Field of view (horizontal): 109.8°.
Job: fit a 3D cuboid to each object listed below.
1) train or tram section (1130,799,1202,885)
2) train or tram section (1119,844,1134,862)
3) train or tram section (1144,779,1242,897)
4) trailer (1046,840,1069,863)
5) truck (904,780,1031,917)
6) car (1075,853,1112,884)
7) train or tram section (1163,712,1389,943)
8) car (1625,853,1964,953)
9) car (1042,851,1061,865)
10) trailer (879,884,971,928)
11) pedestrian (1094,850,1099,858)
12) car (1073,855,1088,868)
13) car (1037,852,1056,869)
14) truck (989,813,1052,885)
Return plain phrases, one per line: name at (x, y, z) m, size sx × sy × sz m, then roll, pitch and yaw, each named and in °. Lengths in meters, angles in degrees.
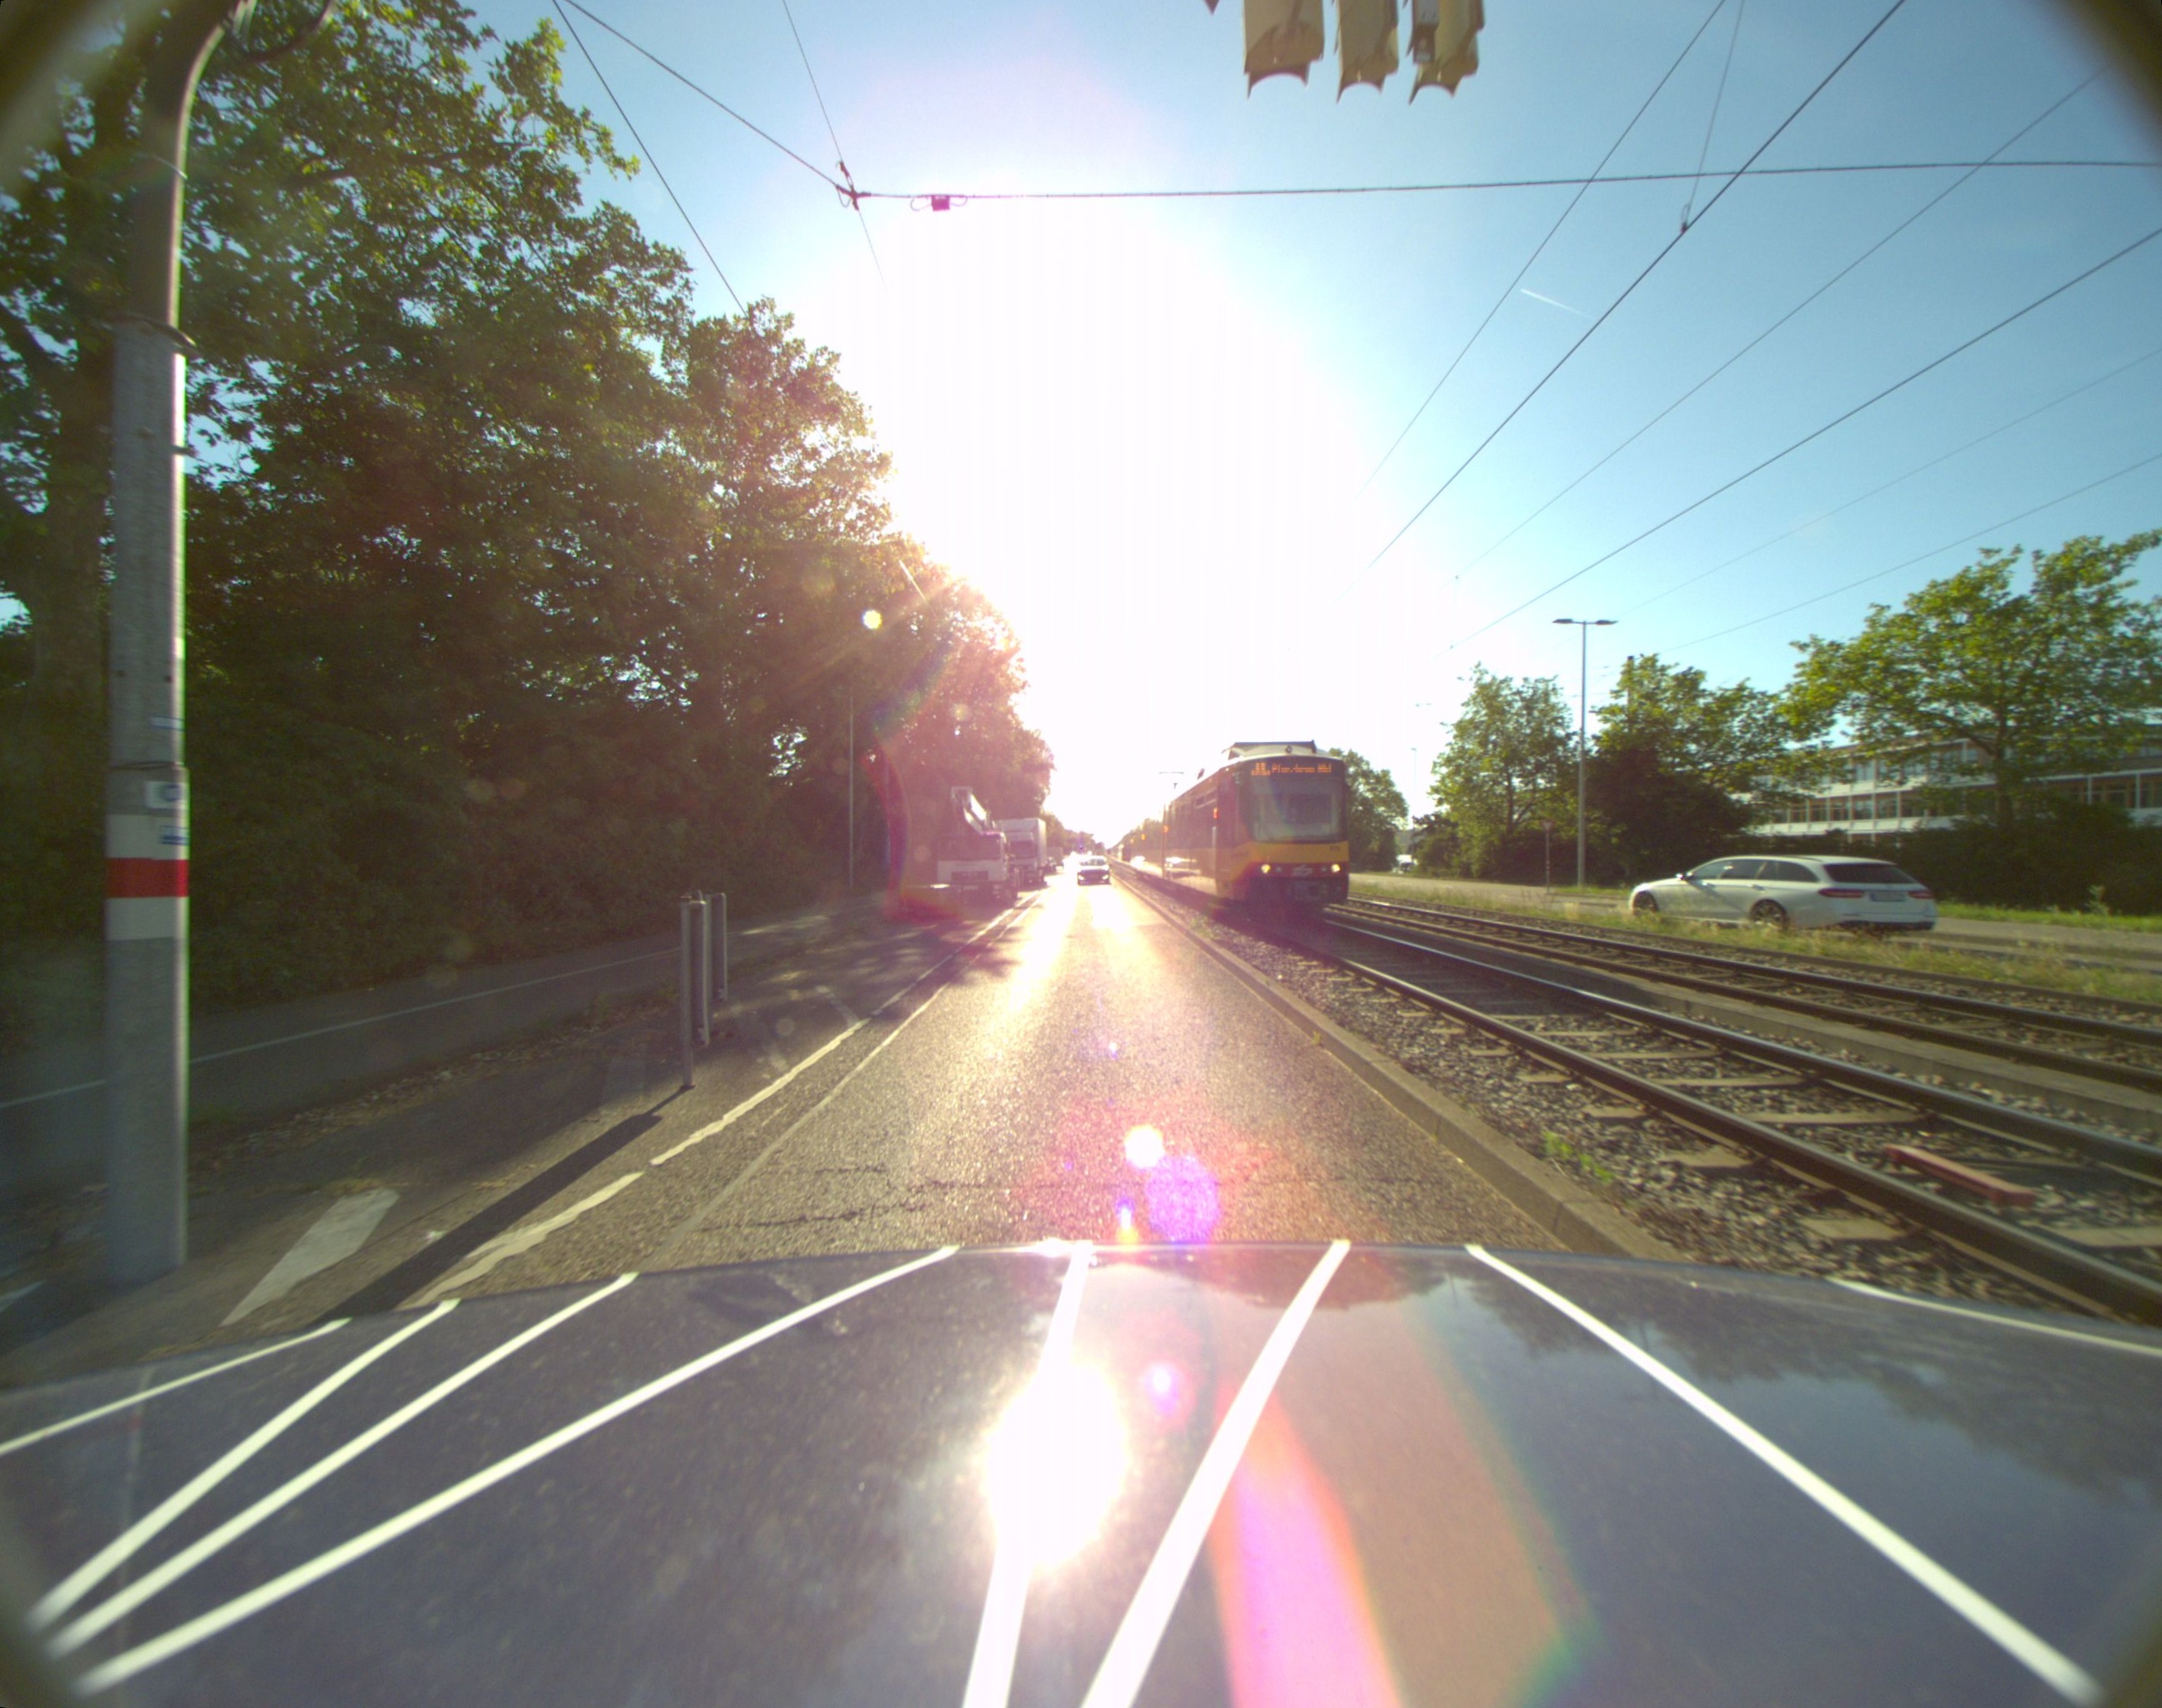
train or tram section at (4.475, -0.598, 42.984) m, size 2.728 × 4.067 × 13.614 m, roll 0°, pitch 0°, yaw 1°
train or tram section at (9.857, -0.331, 166.054) m, size 2.834 × 3.665 × 12.968 m, roll -2°, pitch 1°, yaw 2°
train or tram section at (4.293, -0.563, 31.204) m, size 2.701 × 4.065 × 9.910 m, roll 0°, pitch 0°, yaw 1°
trailer at (-2.918, -0.293, 94.958) m, size 2.256 × 2.679 × 5.948 m, roll -1°, pitch 0°, yaw 4°
truck at (-3.550, -0.175, 26.437) m, size 2.724 × 3.761 × 9.760 m, roll -2°, pitch 0°, yaw 0°
car at (0.698, 0.738, 40.178) m, size 1.786 × 1.530 × 4.001 m, roll -1°, pitch 0°, yaw 3°
train or tram section at (4.145, -0.493, 19.852) m, size 2.726 × 4.065 × 12.812 m, roll 0°, pitch 0°, yaw 1°
car at (12.771, 0.756, 14.196) m, size 1.771 × 1.405 × 4.910 m, roll -1°, pitch 2°, yaw 1°
car at (-3.183, 0.399, 82.113) m, size 1.813 × 1.448 × 4.165 m, roll -2°, pitch 0°, yaw -1°
trailer at (-3.944, 1.301, 19.747) m, size 1.580 × 0.854 × 3.501 m, roll -2°, pitch 0°, yaw 1°
pedestrian at (2.890, -0.085, 143.371) m, size 0.760 × 1.485 × 0.696 m, roll -1°, pitch 1°, yaw 34°
car at (-0.072, 0.910, 97.916) m, size 1.784 × 1.586 × 4.000 m, roll -1°, pitch 0°, yaw 1°
car at (-3.460, 0.662, 76.818) m, size 1.644 × 1.528 × 3.640 m, roll -3°, pitch 0°, yaw 1°
truck at (-3.410, -0.289, 45.620) m, size 2.749 × 3.761 × 10.088 m, roll -2°, pitch 0°, yaw 0°
